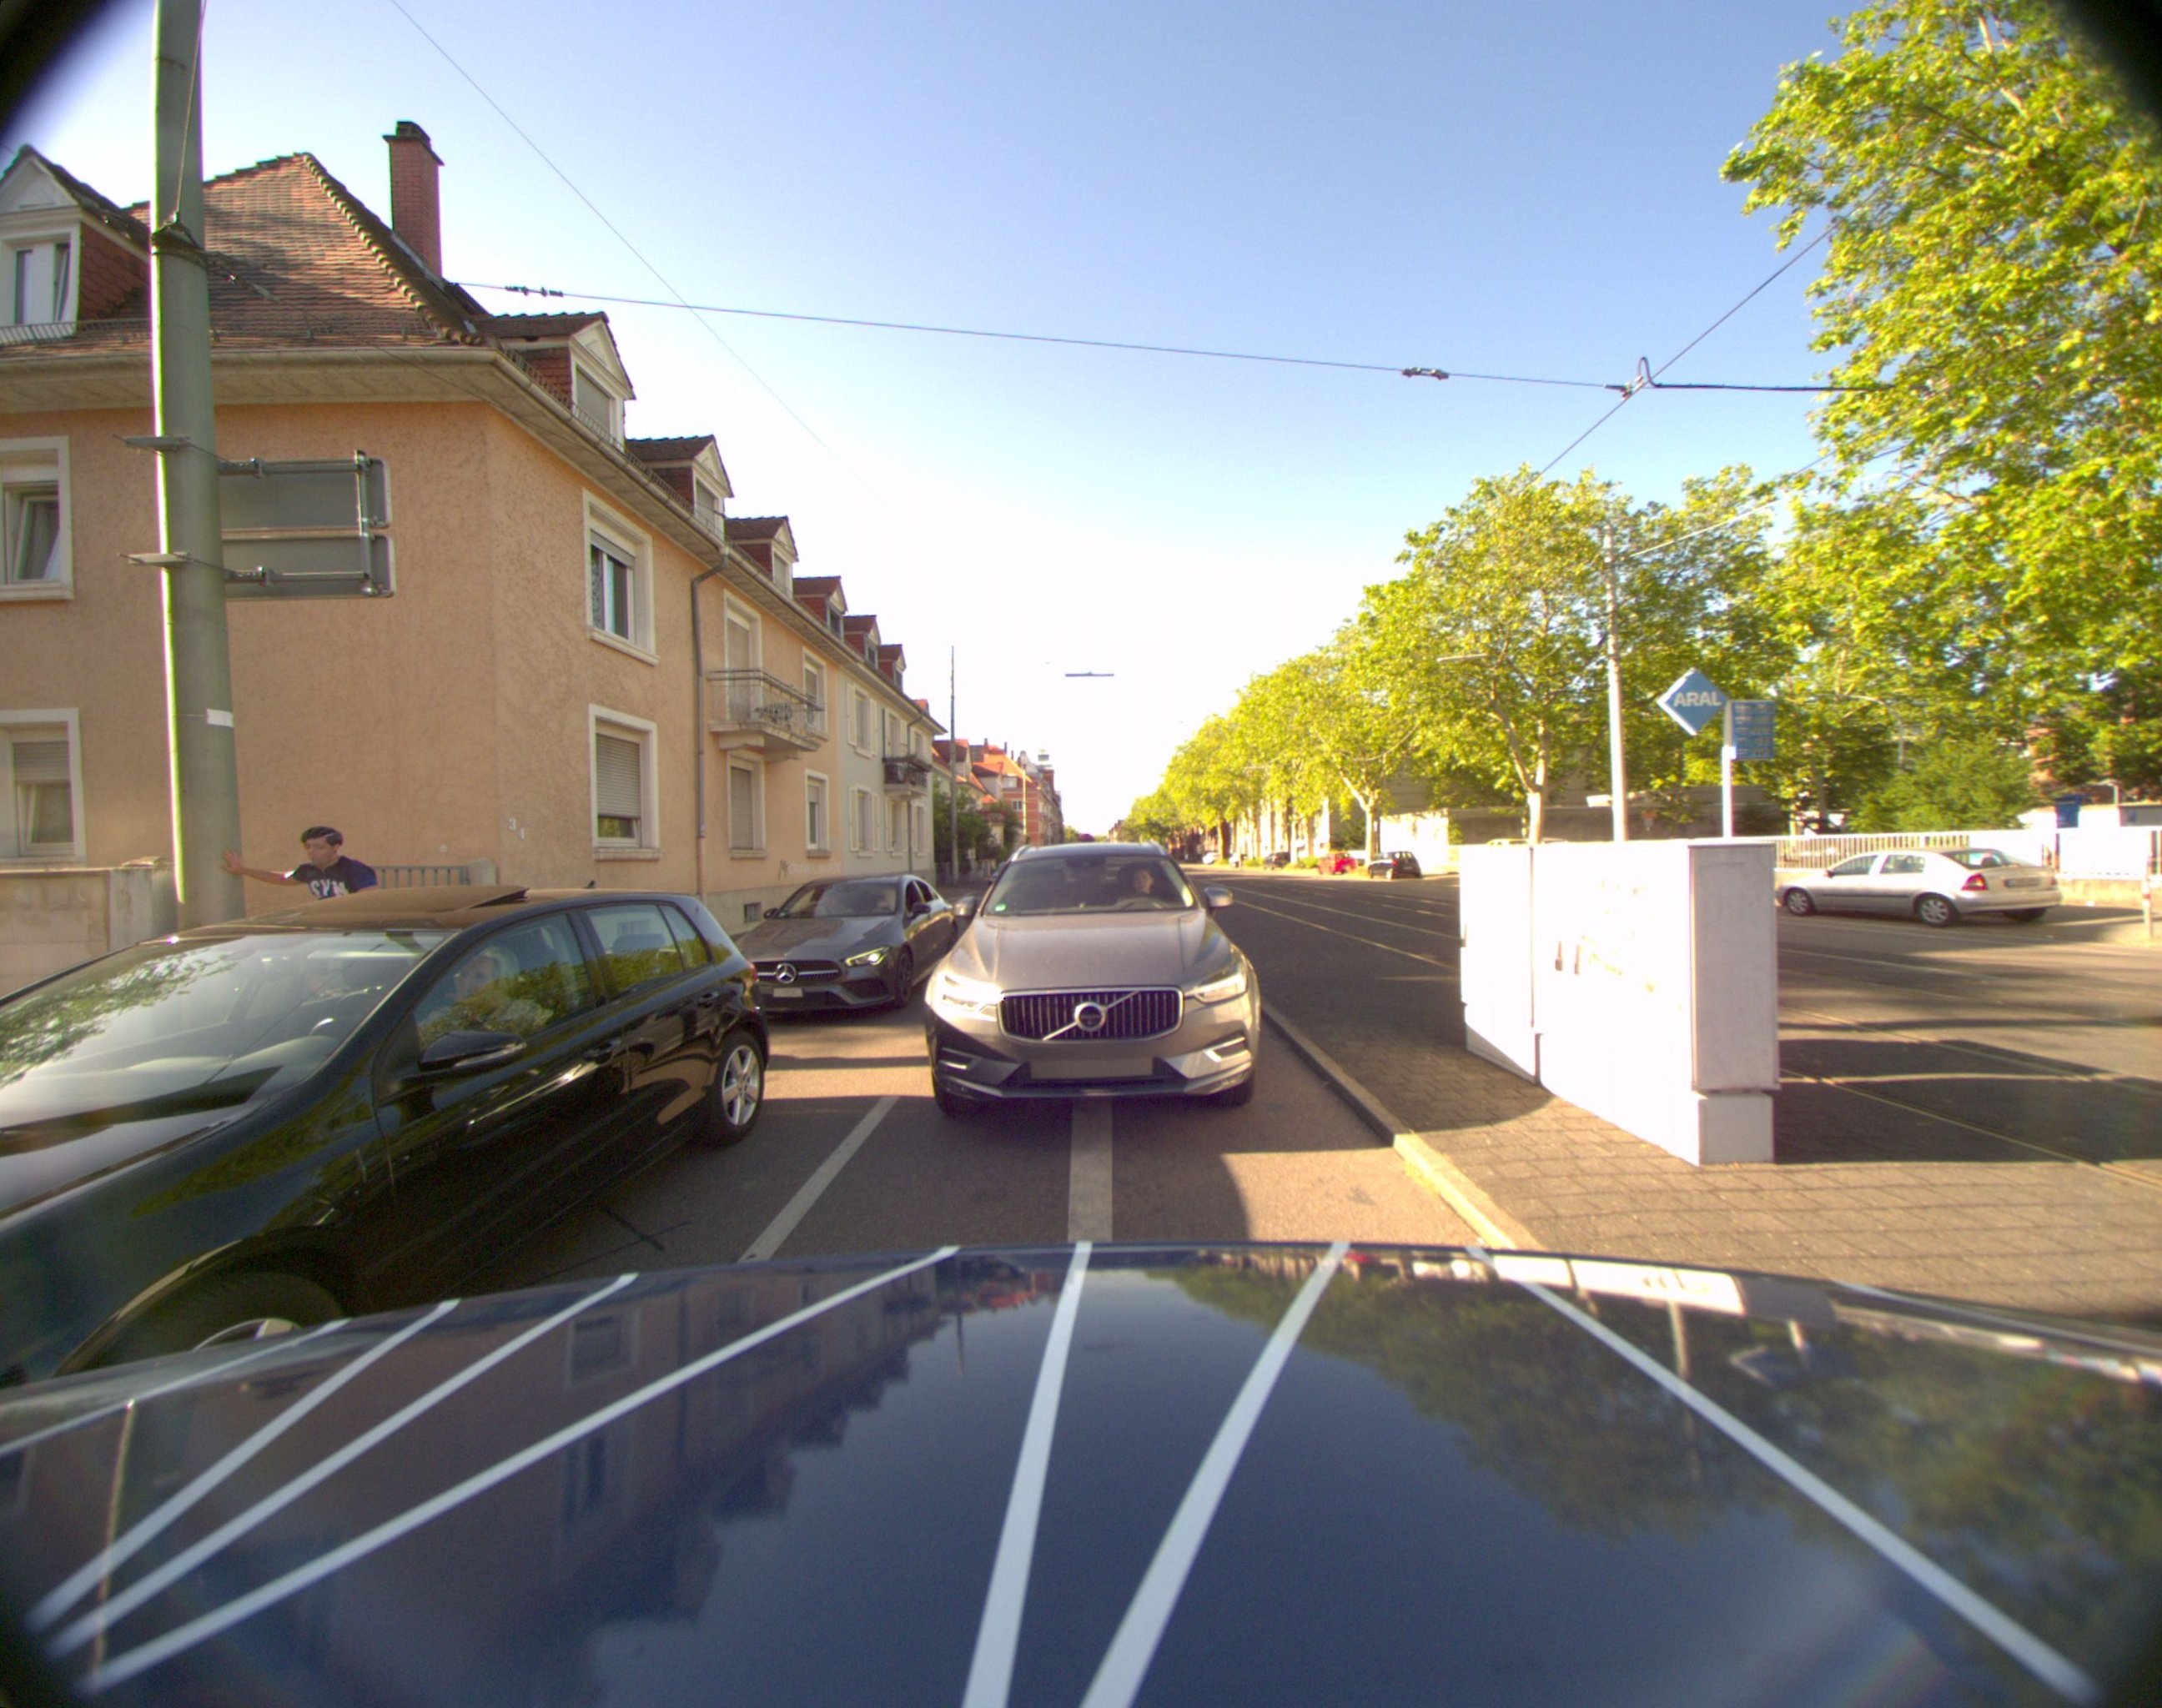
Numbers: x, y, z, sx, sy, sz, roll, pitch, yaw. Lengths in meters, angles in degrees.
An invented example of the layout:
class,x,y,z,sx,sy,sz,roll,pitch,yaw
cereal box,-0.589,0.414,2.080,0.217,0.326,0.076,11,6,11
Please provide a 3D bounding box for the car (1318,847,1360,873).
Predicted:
class,x,y,z,sx,sy,sz,roll,pitch,yaw
car,16.928,0.388,50.051,1.661,1.486,3.377,-5,1,3

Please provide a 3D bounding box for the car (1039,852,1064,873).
class,x,y,z,sx,sy,sz,roll,pitch,yaw
car,-2.591,0.703,67.285,1.825,1.701,4.334,-2,1,1

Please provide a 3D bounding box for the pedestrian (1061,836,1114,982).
class,x,y,z,sx,sy,sz,roll,pitch,yaw
pedestrian,0.088,0.696,9.907,0.609,1.832,0.599,-2,1,1

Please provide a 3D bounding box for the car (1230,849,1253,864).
class,x,y,z,sx,sy,sz,roll,pitch,yaw
car,17.624,0.253,83.471,1.754,1.532,3.878,-5,1,3

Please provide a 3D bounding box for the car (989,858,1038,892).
class,x,y,z,sx,sy,sz,roll,pitch,yaw
car,-3.230,0.970,37.145,1.825,1.422,4.334,-2,1,1

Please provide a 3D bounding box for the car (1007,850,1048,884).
class,x,y,z,sx,sy,sz,roll,pitch,yaw
car,-2.906,0.696,42.399,1.825,1.701,4.334,-2,1,1

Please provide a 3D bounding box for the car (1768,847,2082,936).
class,x,y,z,sx,sy,sz,roll,pitch,yaw
car,16.198,0.634,14.956,1.687,1.358,3.989,-6,0,1

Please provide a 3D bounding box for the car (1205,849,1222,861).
class,x,y,z,sx,sy,sz,roll,pitch,yaw
car,17.580,0.110,100.685,1.661,1.452,3.730,-5,1,3

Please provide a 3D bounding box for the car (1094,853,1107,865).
class,x,y,z,sx,sy,sz,roll,pitch,yaw
car,2.911,0.691,114.062,1.851,1.640,3.999,-2,1,1

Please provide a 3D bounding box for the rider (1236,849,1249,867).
class,x,y,z,sx,sy,sz,roll,pitch,yaw
rider,14.585,0.352,68.701,0.726,1.639,1.105,-2,1,-13

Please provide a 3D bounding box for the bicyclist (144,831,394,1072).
class,x,y,z,sx,sy,sz,roll,pitch,yaw
bicyclist,-6.071,0.701,5.748,1.021,1.684,0.729,2,0,-7

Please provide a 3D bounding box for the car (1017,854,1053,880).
class,x,y,z,sx,sy,sz,roll,pitch,yaw
car,-2.790,0.771,47.026,1.825,1.424,4.334,-2,1,1

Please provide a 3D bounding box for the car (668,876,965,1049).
class,x,y,z,sx,sy,sz,roll,pitch,yaw
car,-2.716,1.036,9.045,1.825,1.422,4.491,-2,-1,1

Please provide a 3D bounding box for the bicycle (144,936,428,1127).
class,x,y,z,sx,sy,sz,roll,pitch,yaw
bicycle,-5.890,1.252,5.780,0.556,1.069,1.624,2,0,-7

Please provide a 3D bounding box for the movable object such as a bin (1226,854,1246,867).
class,x,y,z,sx,sy,sz,roll,pitch,yaw
movable object such as a bin,14.273,0.597,69.995,1.179,1.097,1.833,-2,1,-13

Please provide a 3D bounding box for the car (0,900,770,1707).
class,x,y,z,sx,sy,sz,roll,pitch,yaw
car,-2.803,1.049,2.627,1.717,1.430,3.990,-2,1,1

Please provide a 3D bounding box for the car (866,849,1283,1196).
class,x,y,z,sx,sy,sz,roll,pitch,yaw
car,0.120,0.803,5.783,1.924,1.579,4.387,-2,1,4

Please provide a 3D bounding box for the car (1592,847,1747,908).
class,x,y,z,sx,sy,sz,roll,pitch,yaw
car,16.432,0.598,21.460,1.619,1.436,3.606,-5,1,3

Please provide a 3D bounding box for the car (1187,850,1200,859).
class,x,y,z,sx,sy,sz,roll,pitch,yaw
car,18.562,0.068,125.561,1.661,1.452,3.730,-5,1,3

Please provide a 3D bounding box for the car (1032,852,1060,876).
class,x,y,z,sx,sy,sz,roll,pitch,yaw
car,-2.779,0.781,60.918,1.825,1.701,4.334,-2,1,1

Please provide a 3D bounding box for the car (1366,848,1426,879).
class,x,y,z,sx,sy,sz,roll,pitch,yaw
car,16.838,0.452,40.821,1.723,1.436,3.769,-5,1,3

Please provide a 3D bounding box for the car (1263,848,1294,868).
class,x,y,z,sx,sy,sz,roll,pitch,yaw
car,17.095,0.335,65.950,1.754,1.582,3.878,-5,1,3
